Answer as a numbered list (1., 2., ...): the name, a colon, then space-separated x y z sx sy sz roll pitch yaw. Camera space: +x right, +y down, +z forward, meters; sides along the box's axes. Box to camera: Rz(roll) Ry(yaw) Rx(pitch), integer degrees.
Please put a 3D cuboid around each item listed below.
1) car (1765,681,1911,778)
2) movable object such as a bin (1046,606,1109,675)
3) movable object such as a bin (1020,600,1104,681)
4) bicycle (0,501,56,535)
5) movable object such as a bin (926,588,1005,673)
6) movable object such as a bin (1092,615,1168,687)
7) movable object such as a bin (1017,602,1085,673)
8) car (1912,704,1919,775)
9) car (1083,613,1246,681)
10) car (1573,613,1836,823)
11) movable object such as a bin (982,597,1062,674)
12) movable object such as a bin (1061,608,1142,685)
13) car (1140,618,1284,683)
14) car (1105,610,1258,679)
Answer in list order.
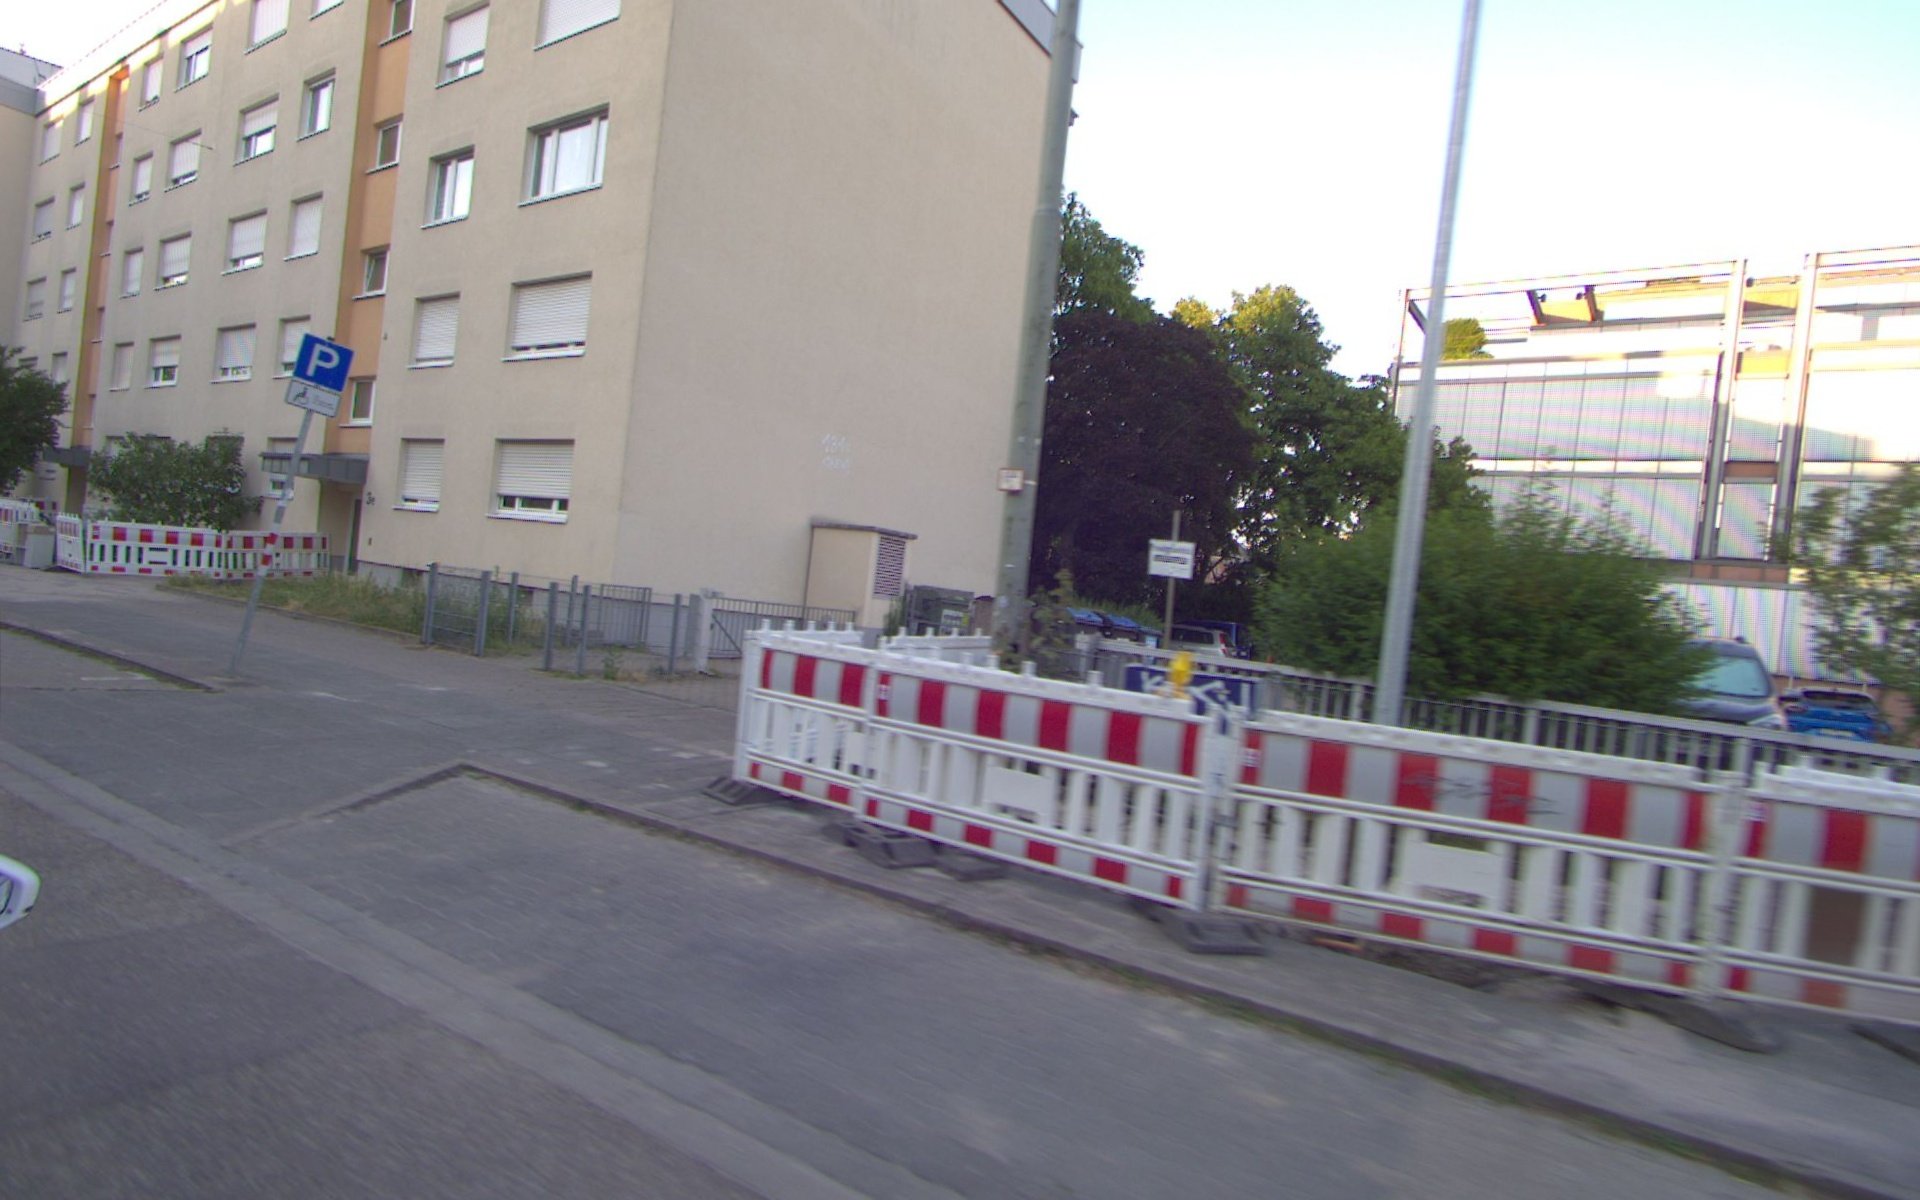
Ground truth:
1. car: 18.004 2.599 20.803 1.956 1.536 3.926 7 0 39
2. movable object such as a bin: 2.761 0.967 23.629 0.995 1.483 0.999 7 1 31
3. movable object such as a bin: 2.073 0.822 20.303 1.091 1.483 1.317 7 1 31
4. bicycle: -26.921 -2.342 28.863 0.548 0.934 1.811 3 3 -9
5. movable object such as a bin: 0.116 0.595 19.273 0.995 1.483 0.999 7 1 31
6. movable object such as a bin: 3.909 1.172 23.074 1.140 1.483 1.388 7 1 31
7. movable object such as a bin: 2.029 0.839 22.445 0.995 1.448 1.103 7 1 31
8. car: 19.751 2.785 19.289 1.801 1.536 3.715 7 0 40
9. car: 6.253 1.433 30.845 4.416 1.496 1.918 7 0 29
10. car: 8.669 1.285 12.059 1.973 1.833 4.481 7 0 33
11. movable object such as a bin: 1.329 0.765 21.334 1.045 1.483 1.388 7 1 31
12. movable object such as a bin: 3.065 1.009 21.689 1.140 1.483 1.388 7 1 31
13. car: 8.825 1.756 35.322 4.416 1.688 1.918 7 0 29
14. car: 7.290 1.468 33.197 4.416 1.688 1.918 7 0 29
